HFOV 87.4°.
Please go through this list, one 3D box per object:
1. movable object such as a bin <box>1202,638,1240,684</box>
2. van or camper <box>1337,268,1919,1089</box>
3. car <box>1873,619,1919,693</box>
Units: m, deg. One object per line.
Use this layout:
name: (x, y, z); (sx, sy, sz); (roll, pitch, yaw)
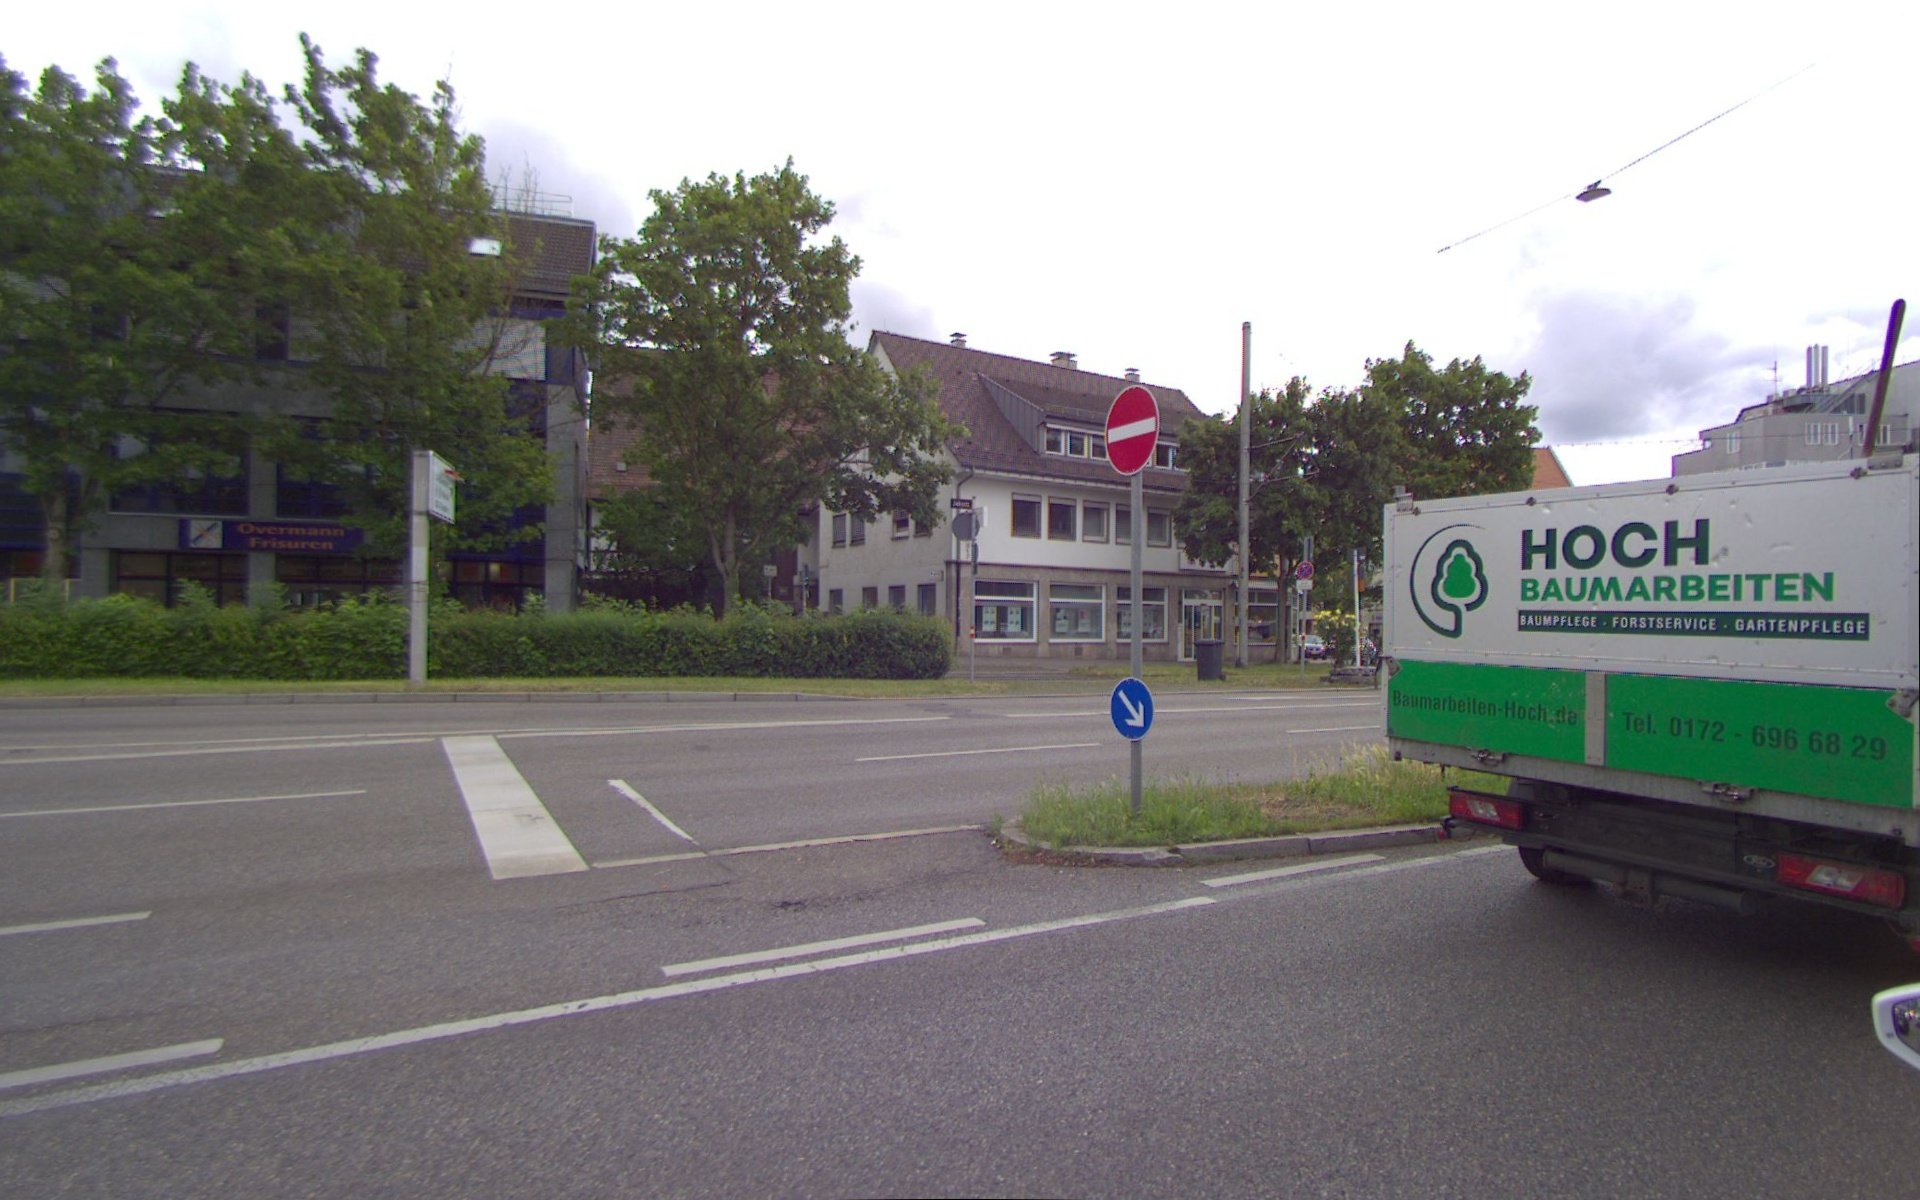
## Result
movable object such as a bin: (6.325, 1.468, 24.341); (0.591, 1.056, 0.688); (1, -1, -36)
van or camper: (5.109, 0.261, 5.811); (5.896, 2.697, 2.331); (0, 1, -31)
car: (23.370, 1.312, 23.190); (4.776, 1.612, 1.984); (1, 1, -29)
